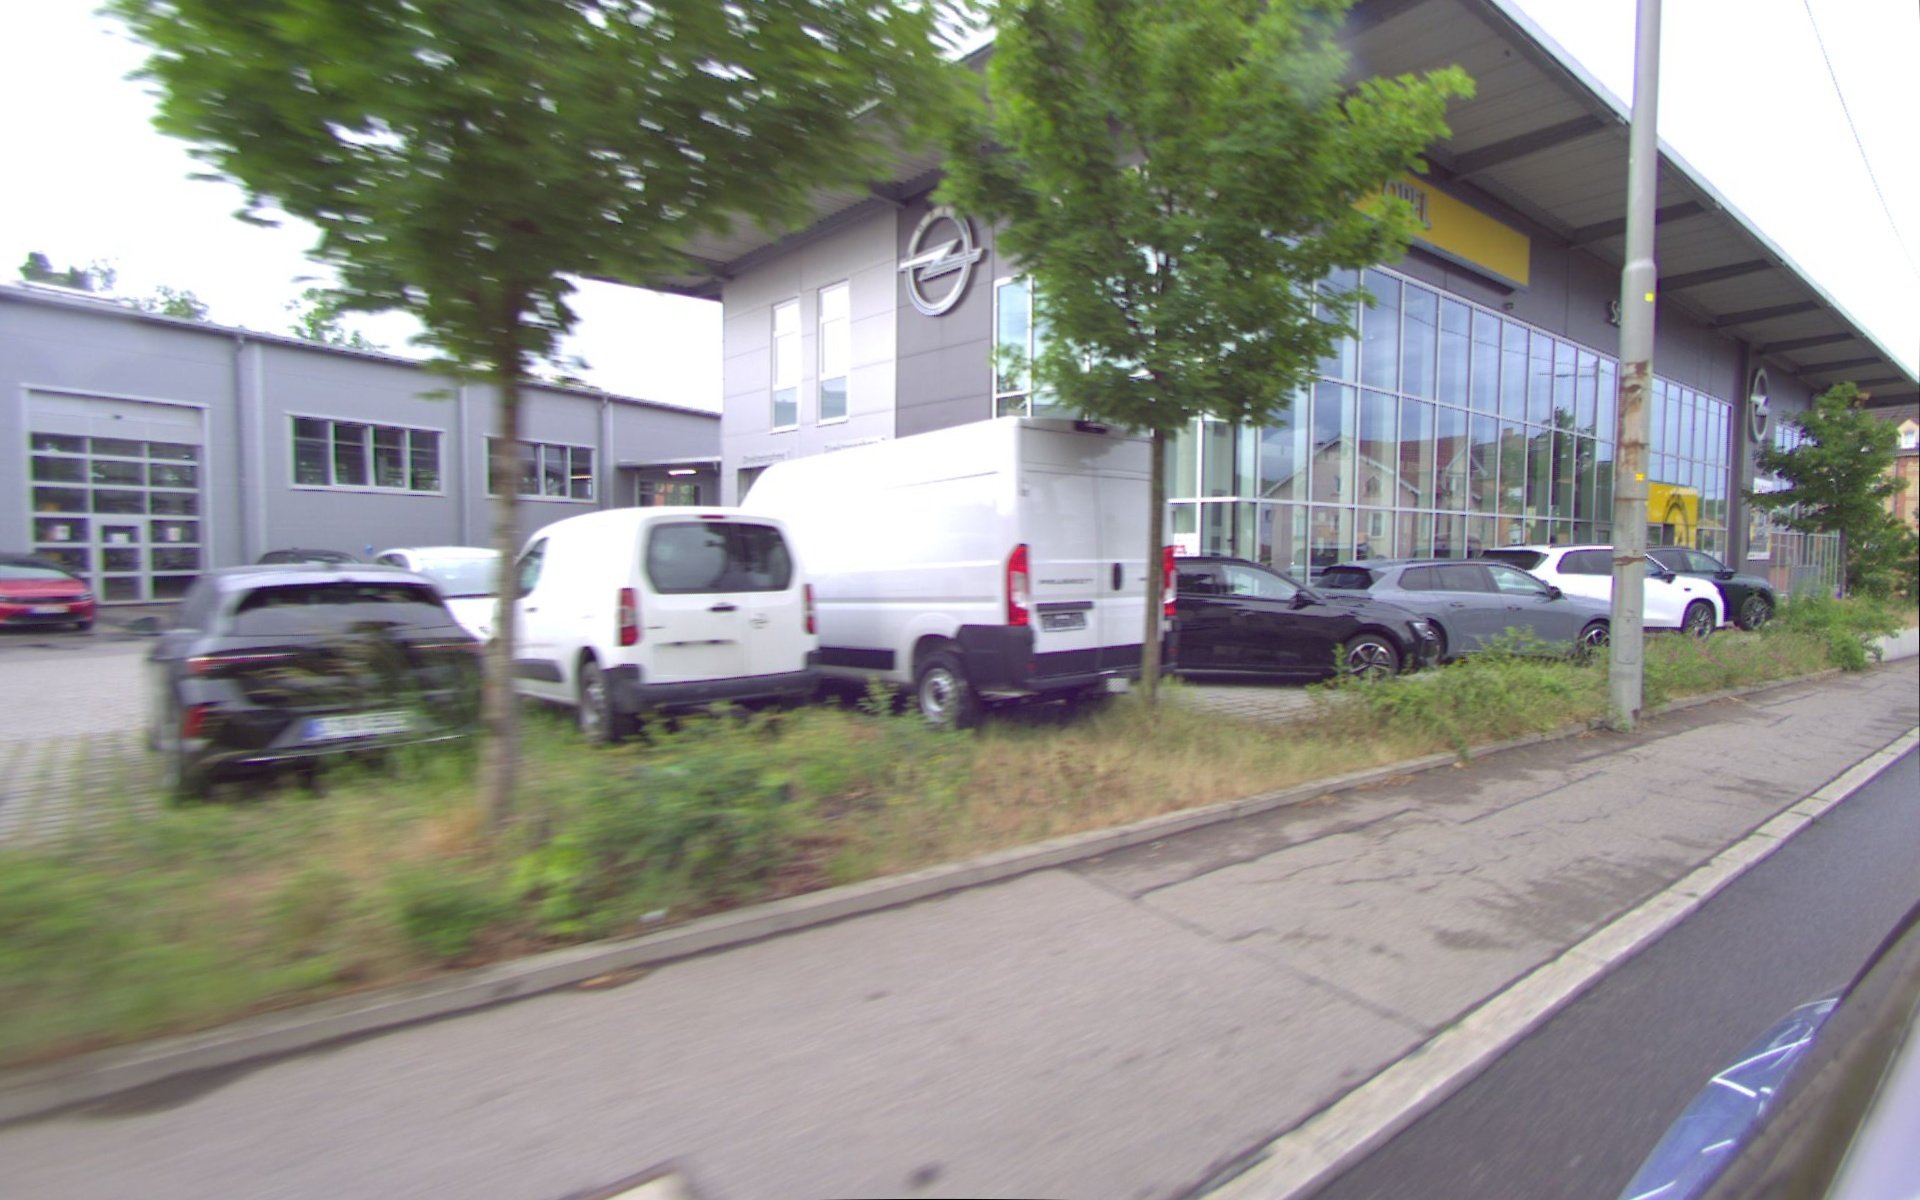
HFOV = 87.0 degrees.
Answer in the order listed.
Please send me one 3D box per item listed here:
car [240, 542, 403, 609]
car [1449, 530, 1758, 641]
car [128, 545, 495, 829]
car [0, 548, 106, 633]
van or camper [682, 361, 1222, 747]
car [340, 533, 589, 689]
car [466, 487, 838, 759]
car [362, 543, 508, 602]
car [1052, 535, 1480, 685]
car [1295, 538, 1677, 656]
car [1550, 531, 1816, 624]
[{"bbox_3d":[-15.879,-0.658,25.155,3.967,1.440,1.822,4,4,30],"label":"car"},{"bbox_3d":[11.082,-0.286,17.519,4.481,1.731,2.006,0,4,-17],"label":"car"},{"bbox_3d":[-4.860,0.380,7.312,1.717,1.448,3.995,-3,3,-40],"label":"car"},{"bbox_3d":[-18.507,-0.245,19.868,3.977,1.526,1.806,2,3,37],"label":"car"},{"bbox_3d":[-0.472,-0.406,10.195,2.310,2.758,5.749,0,1,-40],"label":"van or camper"},{"bbox_3d":[-6.423,0.044,12.887,1.834,1.660,4.146,-1,2,-41],"label":"car"},{"bbox_3d":[-2.973,0.059,9.144,1.810,1.868,4.139,-3,4,-38],"label":"car"},{"bbox_3d":[-14.722,-0.792,28.350,3.967,1.569,1.828,2,2,30],"label":"car"},{"bbox_3d":[3.357,0.033,11.917,4.441,1.472,1.913,2,4,7],"label":"car"},{"bbox_3d":[7.257,-0.067,14.130,4.476,1.472,1.921,1,4,-13],"label":"car"},{"bbox_3d":[14.723,-0.478,20.696,4.335,1.731,2.006,1,4,-14],"label":"car"}]
